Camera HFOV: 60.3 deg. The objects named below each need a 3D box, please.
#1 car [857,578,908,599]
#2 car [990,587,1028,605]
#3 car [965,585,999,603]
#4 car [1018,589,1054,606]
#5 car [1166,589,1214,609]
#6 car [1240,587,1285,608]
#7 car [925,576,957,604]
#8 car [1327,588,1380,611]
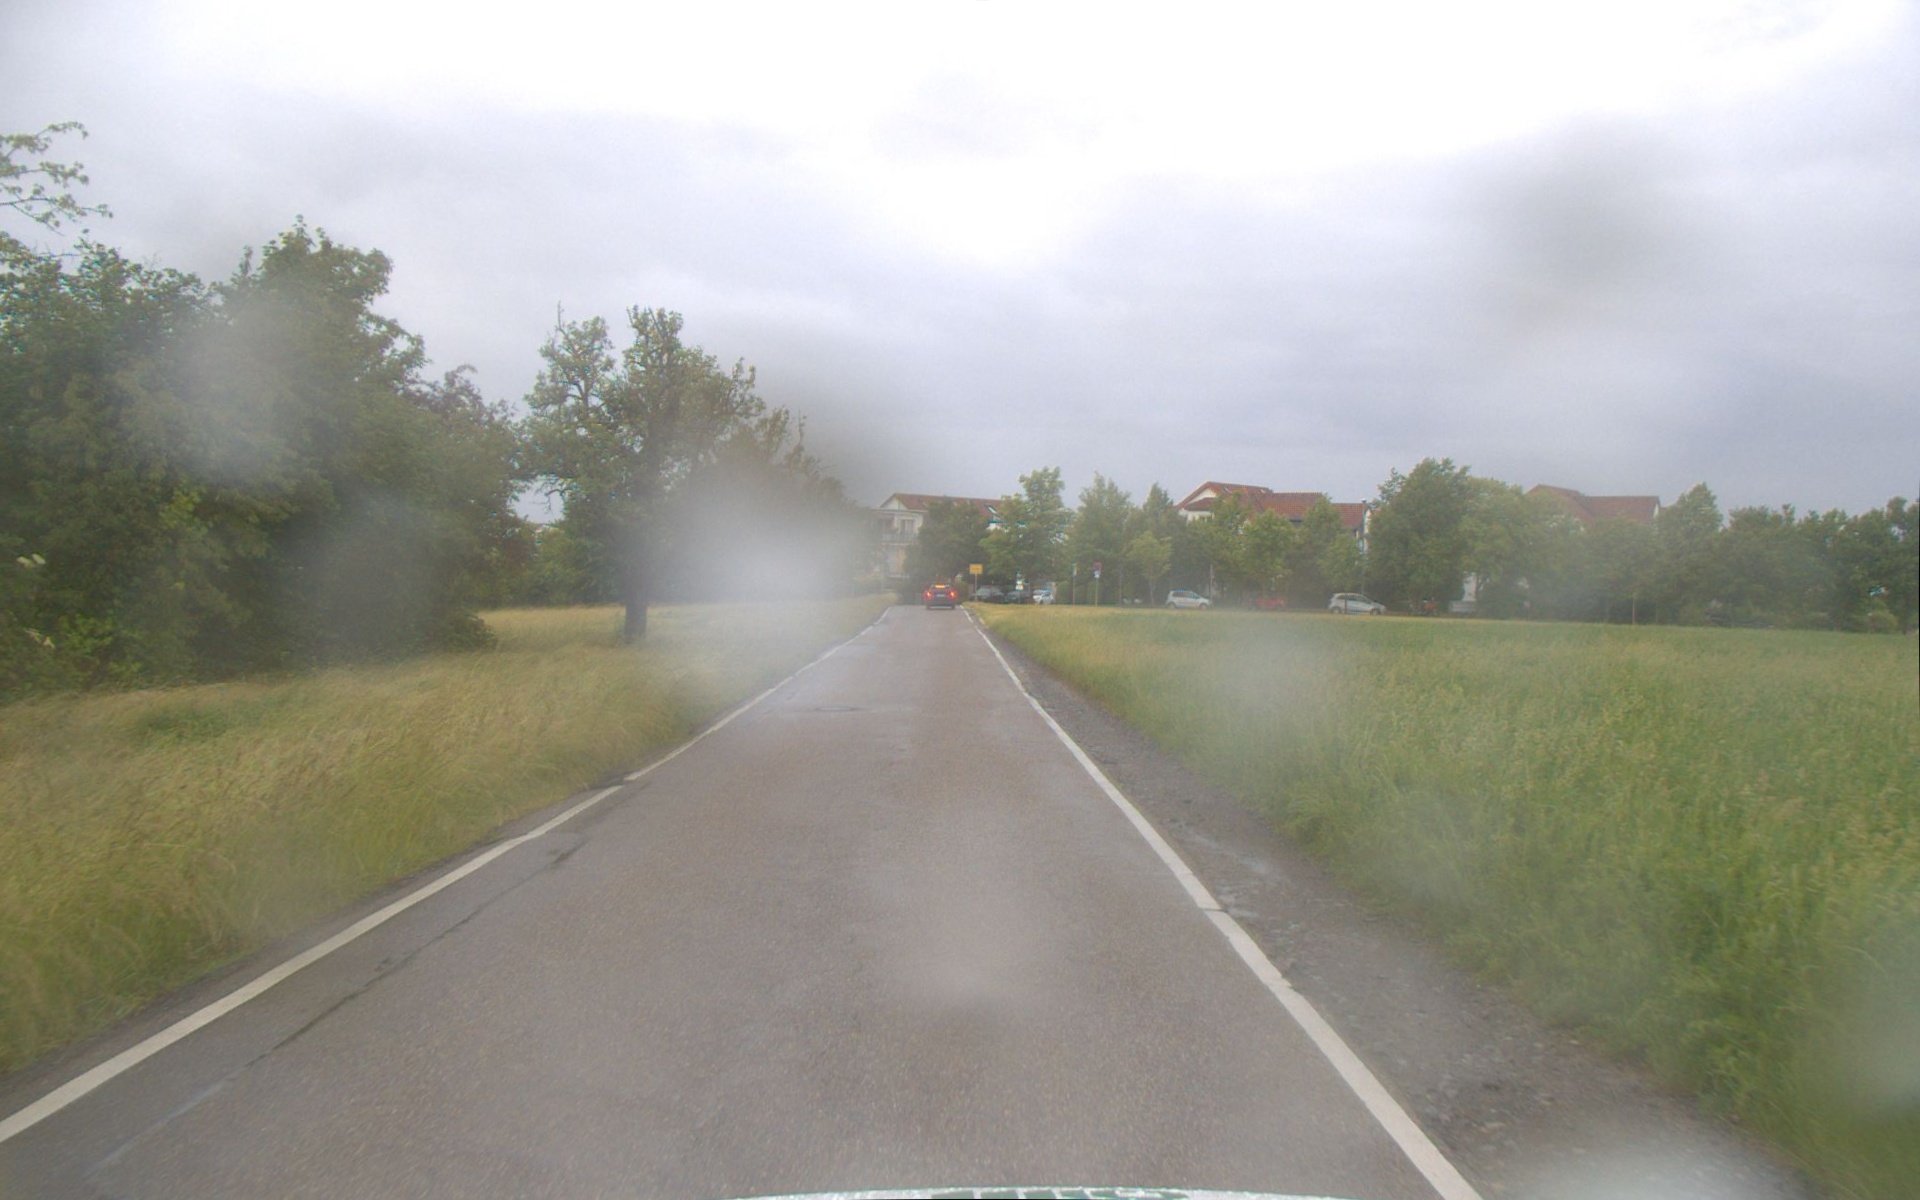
[{"bbox_3d":[-6.118,-0.877,130.073,3.932,1.622,1.808,0,-1,44],"label":"car"},{"bbox_3d":[4.548,-0.348,154.208,1.632,1.573,3.986,0,-1,34],"label":"car"},{"bbox_3d":[1.990,-0.522,149.705,1.627,1.573,3.998,0,-1,24],"label":"car"},{"bbox_3d":[7.308,-0.219,158.632,1.632,1.573,3.986,0,-1,34],"label":"car"},{"bbox_3d":[16.789,-0.093,120.815,3.317,1.394,1.549,1,-1,12],"label":"car"},{"bbox_3d":[21.888,-0.177,119.655,3.124,1.394,1.573,1,-1,12],"label":"car"},{"bbox_3d":[-1.122,-0.589,99.249,1.777,1.622,4.000,1,-1,0],"label":"car"},{"bbox_3d":[28.031,-0.042,118.007,3.630,1.591,1.611,1,-1,12],"label":"car"}]
